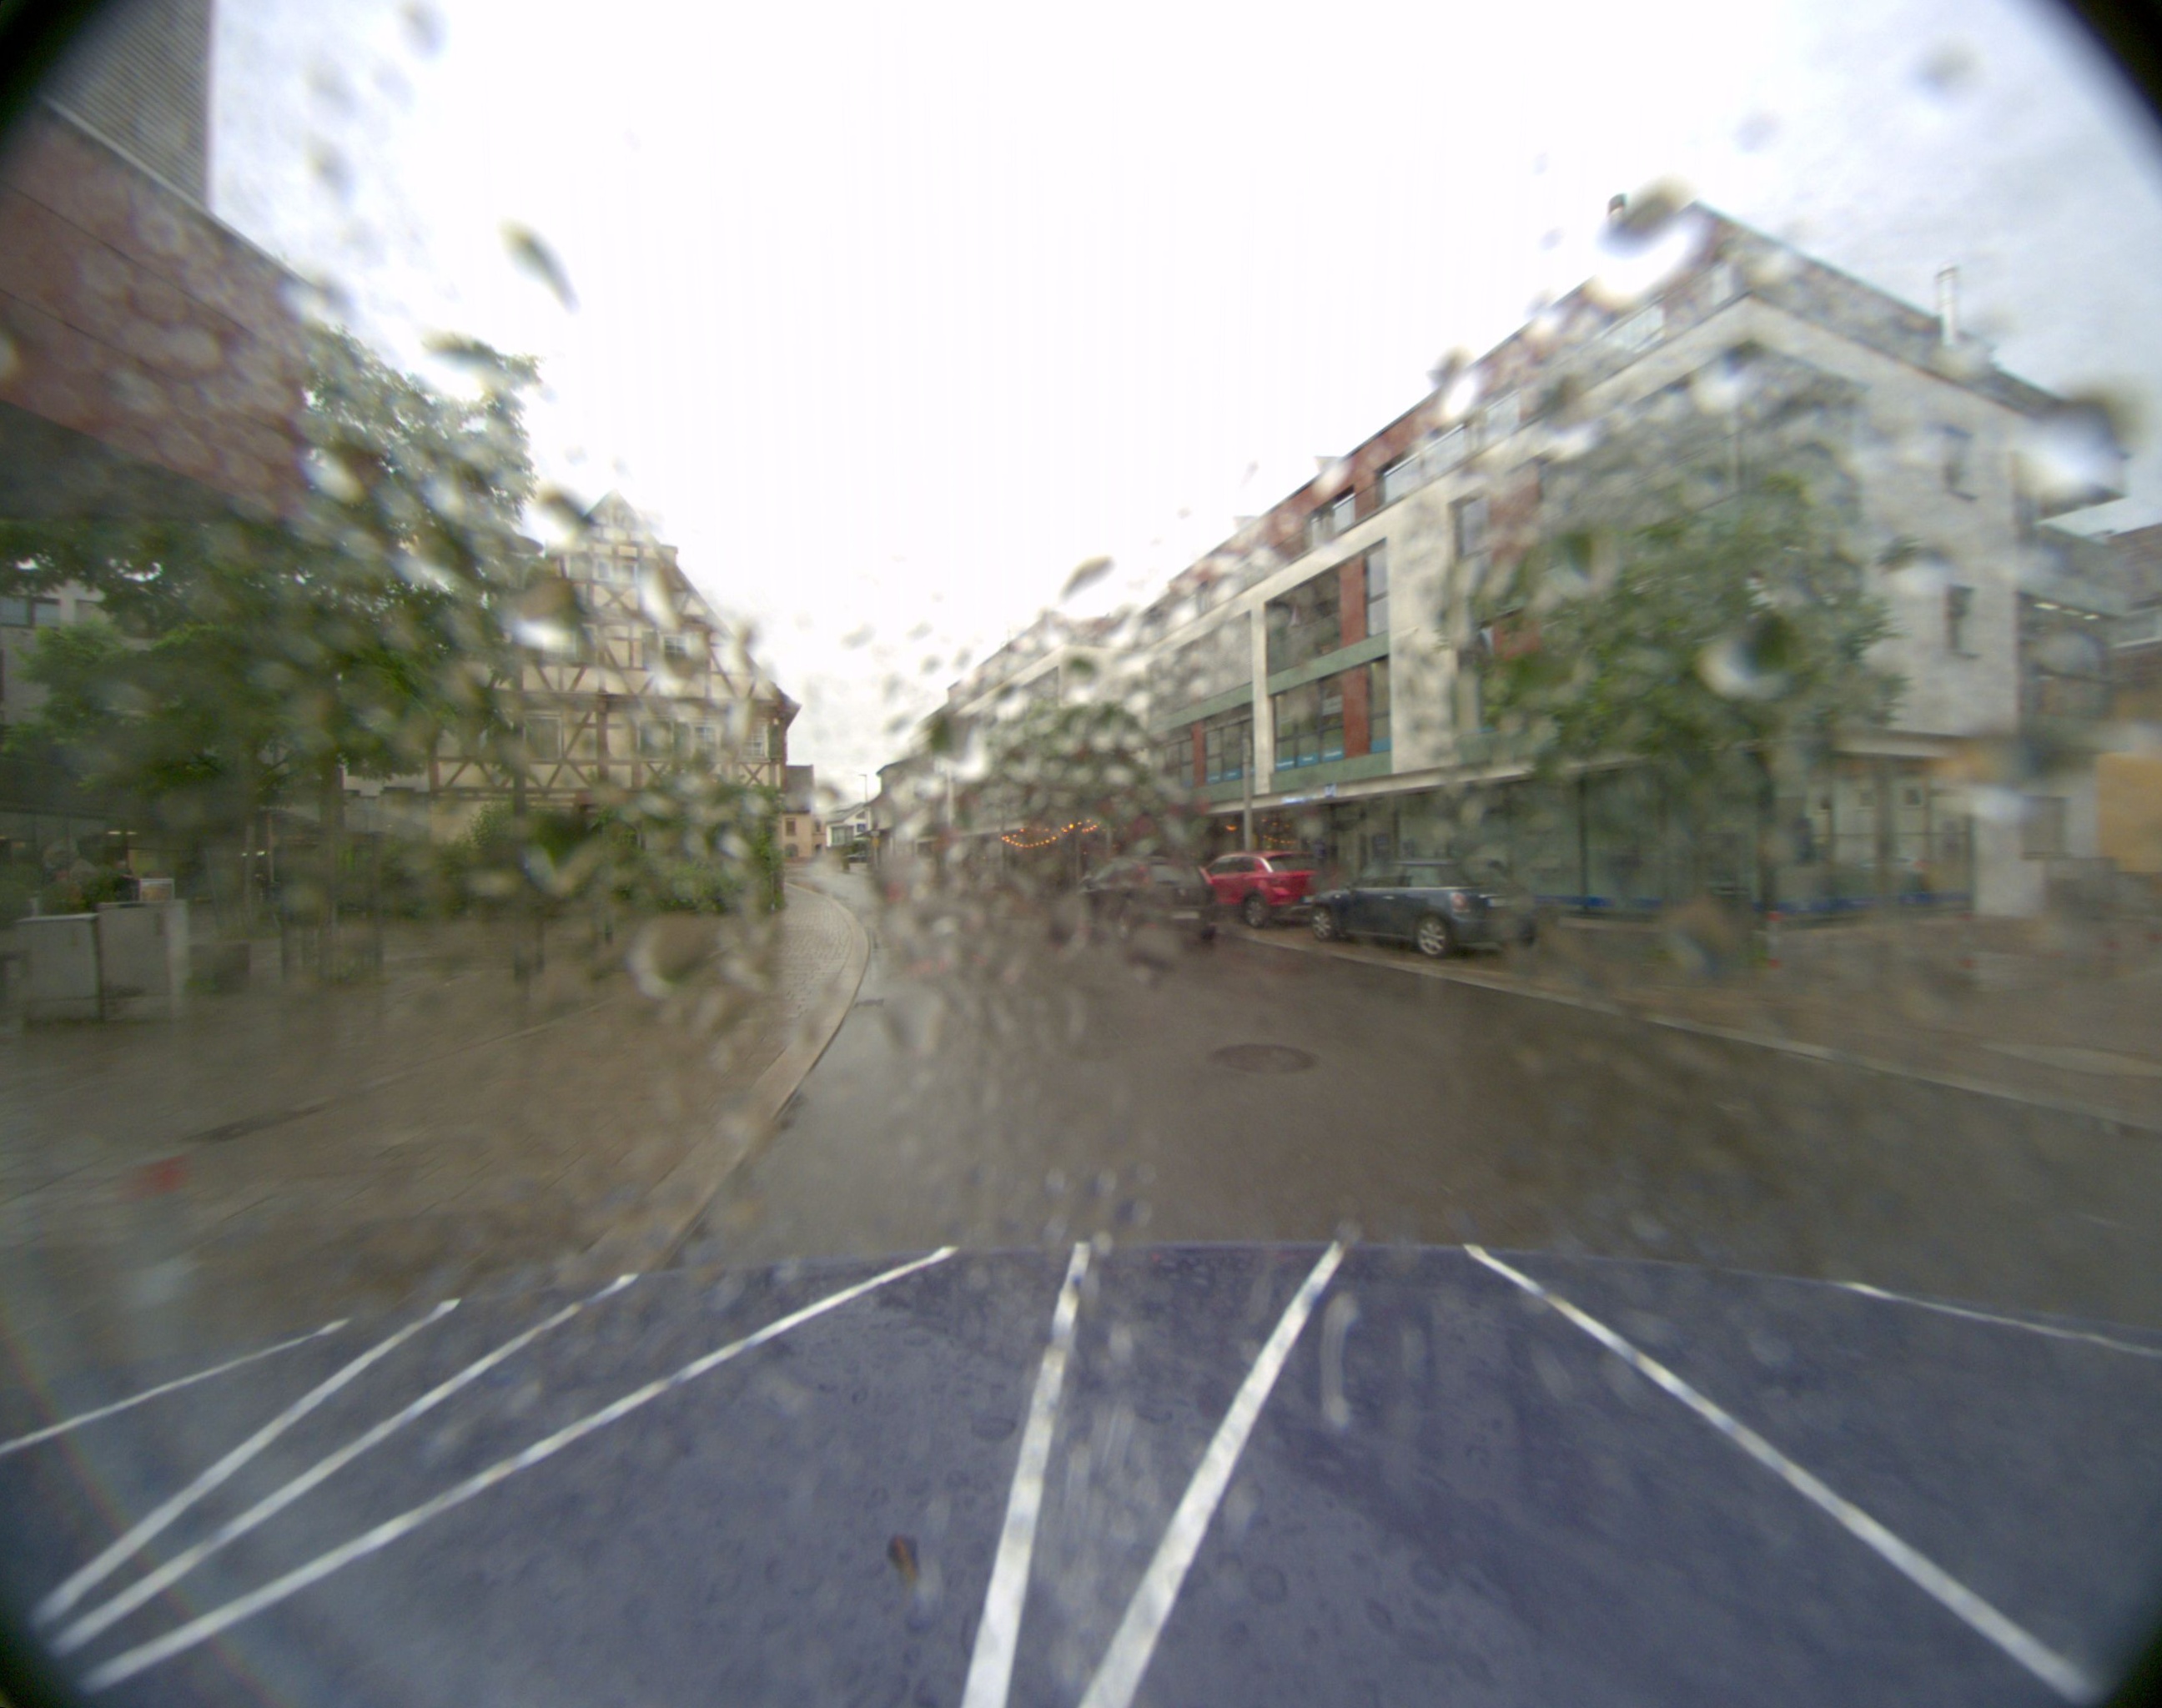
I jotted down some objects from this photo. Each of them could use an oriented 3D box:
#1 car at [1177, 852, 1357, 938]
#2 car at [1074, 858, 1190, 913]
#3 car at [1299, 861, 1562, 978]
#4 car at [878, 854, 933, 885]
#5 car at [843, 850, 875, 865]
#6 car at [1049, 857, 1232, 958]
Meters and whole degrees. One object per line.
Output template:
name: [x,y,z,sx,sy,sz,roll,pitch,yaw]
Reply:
car: [3.849,0.783,16.423,1.805,1.546,3.914,-3,1,-22]
car: [1.363,0.833,21.955,1.728,1.386,3.854,-3,1,-23]
car: [5.189,0.866,11.810,1.681,1.427,3.580,-3,1,-18]
car: [-8.625,0.731,37.142,1.781,1.404,3.726,-3,1,-27]
car: [-31.272,0.494,107.131,4.001,2.002,1.998,-2,1,-12]
car: [0.932,0.869,14.624,1.787,1.457,4.505,-1,2,-20]
